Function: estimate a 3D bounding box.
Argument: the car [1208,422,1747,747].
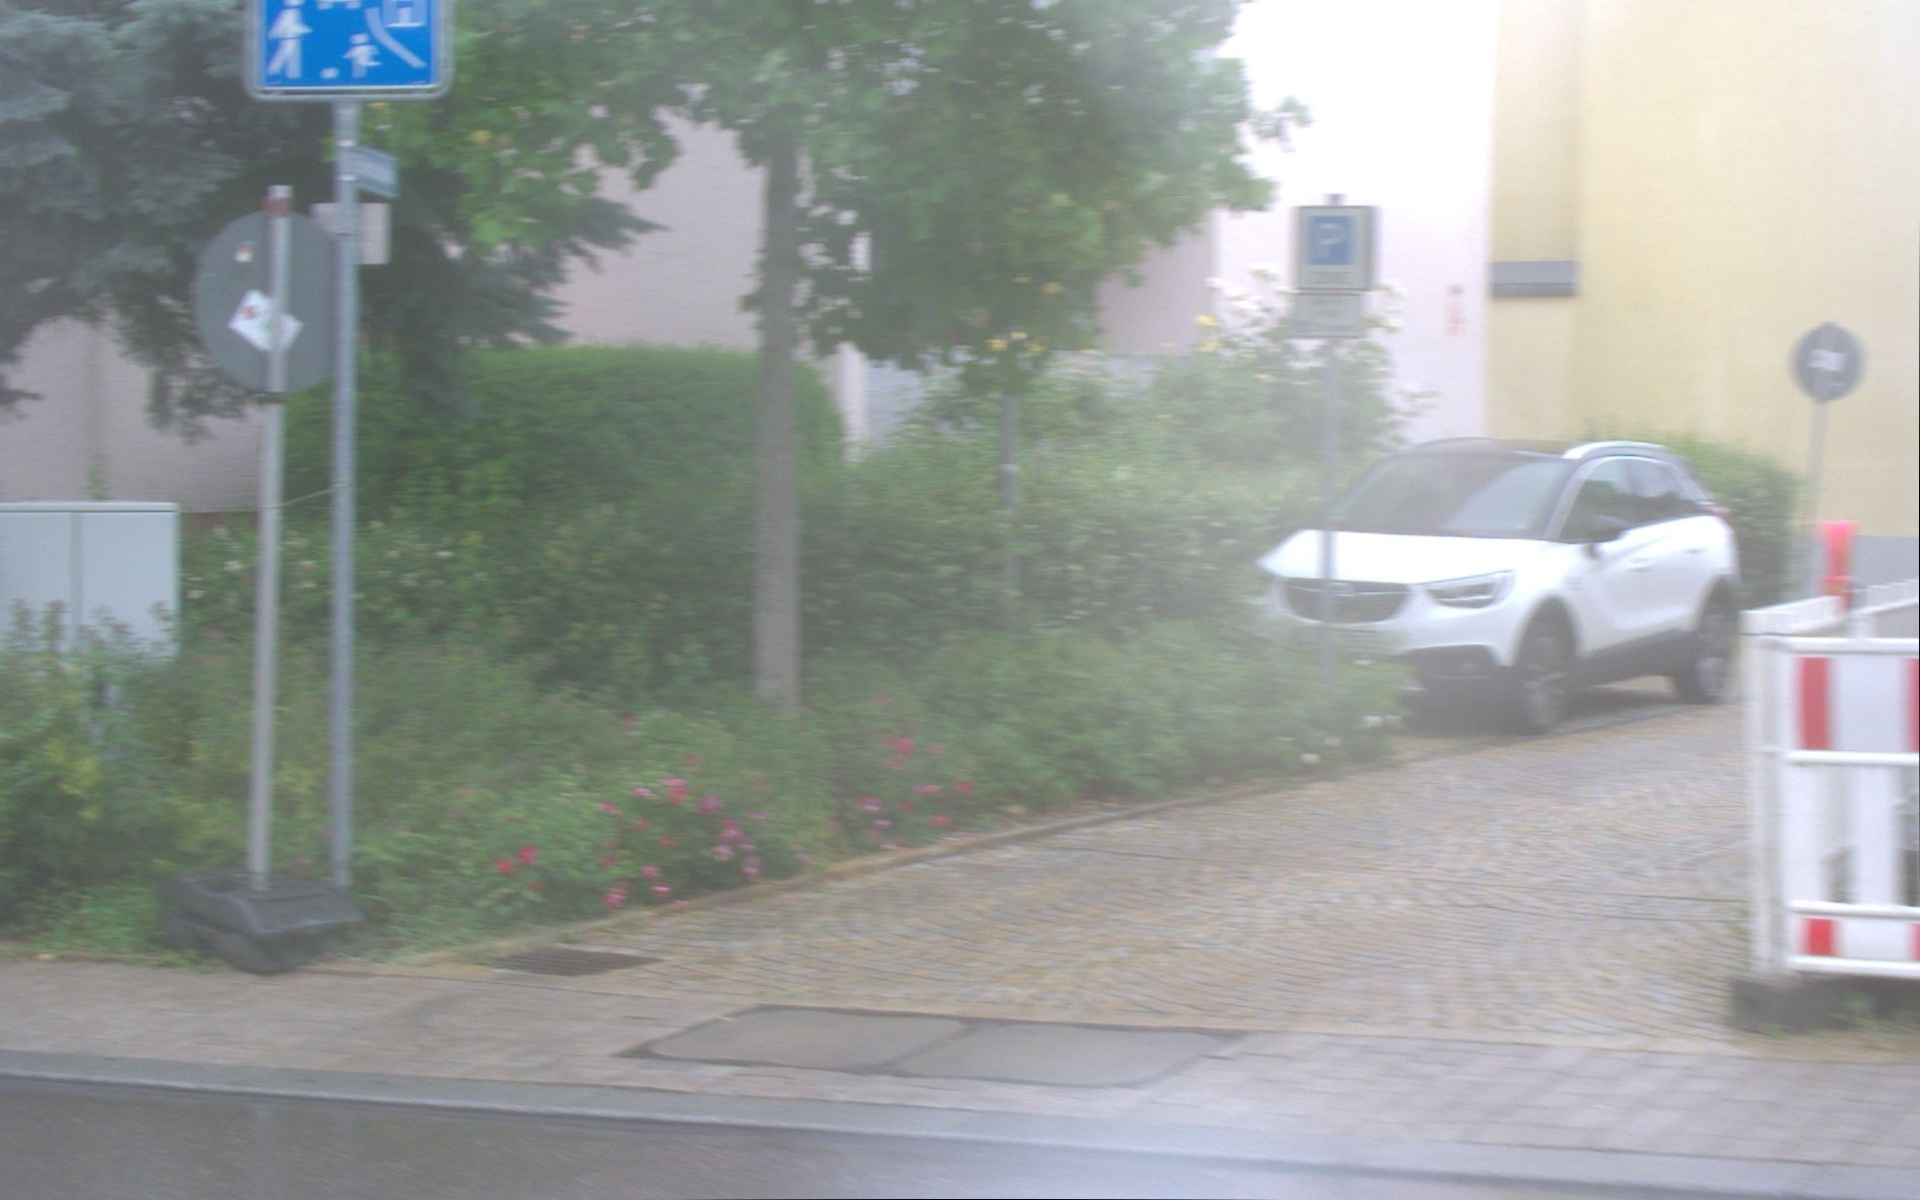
[{"bbox_3d":[3.110,-0.186,20.044,1.603,1.672,3.931,3,4,33],"label":"car"}]
